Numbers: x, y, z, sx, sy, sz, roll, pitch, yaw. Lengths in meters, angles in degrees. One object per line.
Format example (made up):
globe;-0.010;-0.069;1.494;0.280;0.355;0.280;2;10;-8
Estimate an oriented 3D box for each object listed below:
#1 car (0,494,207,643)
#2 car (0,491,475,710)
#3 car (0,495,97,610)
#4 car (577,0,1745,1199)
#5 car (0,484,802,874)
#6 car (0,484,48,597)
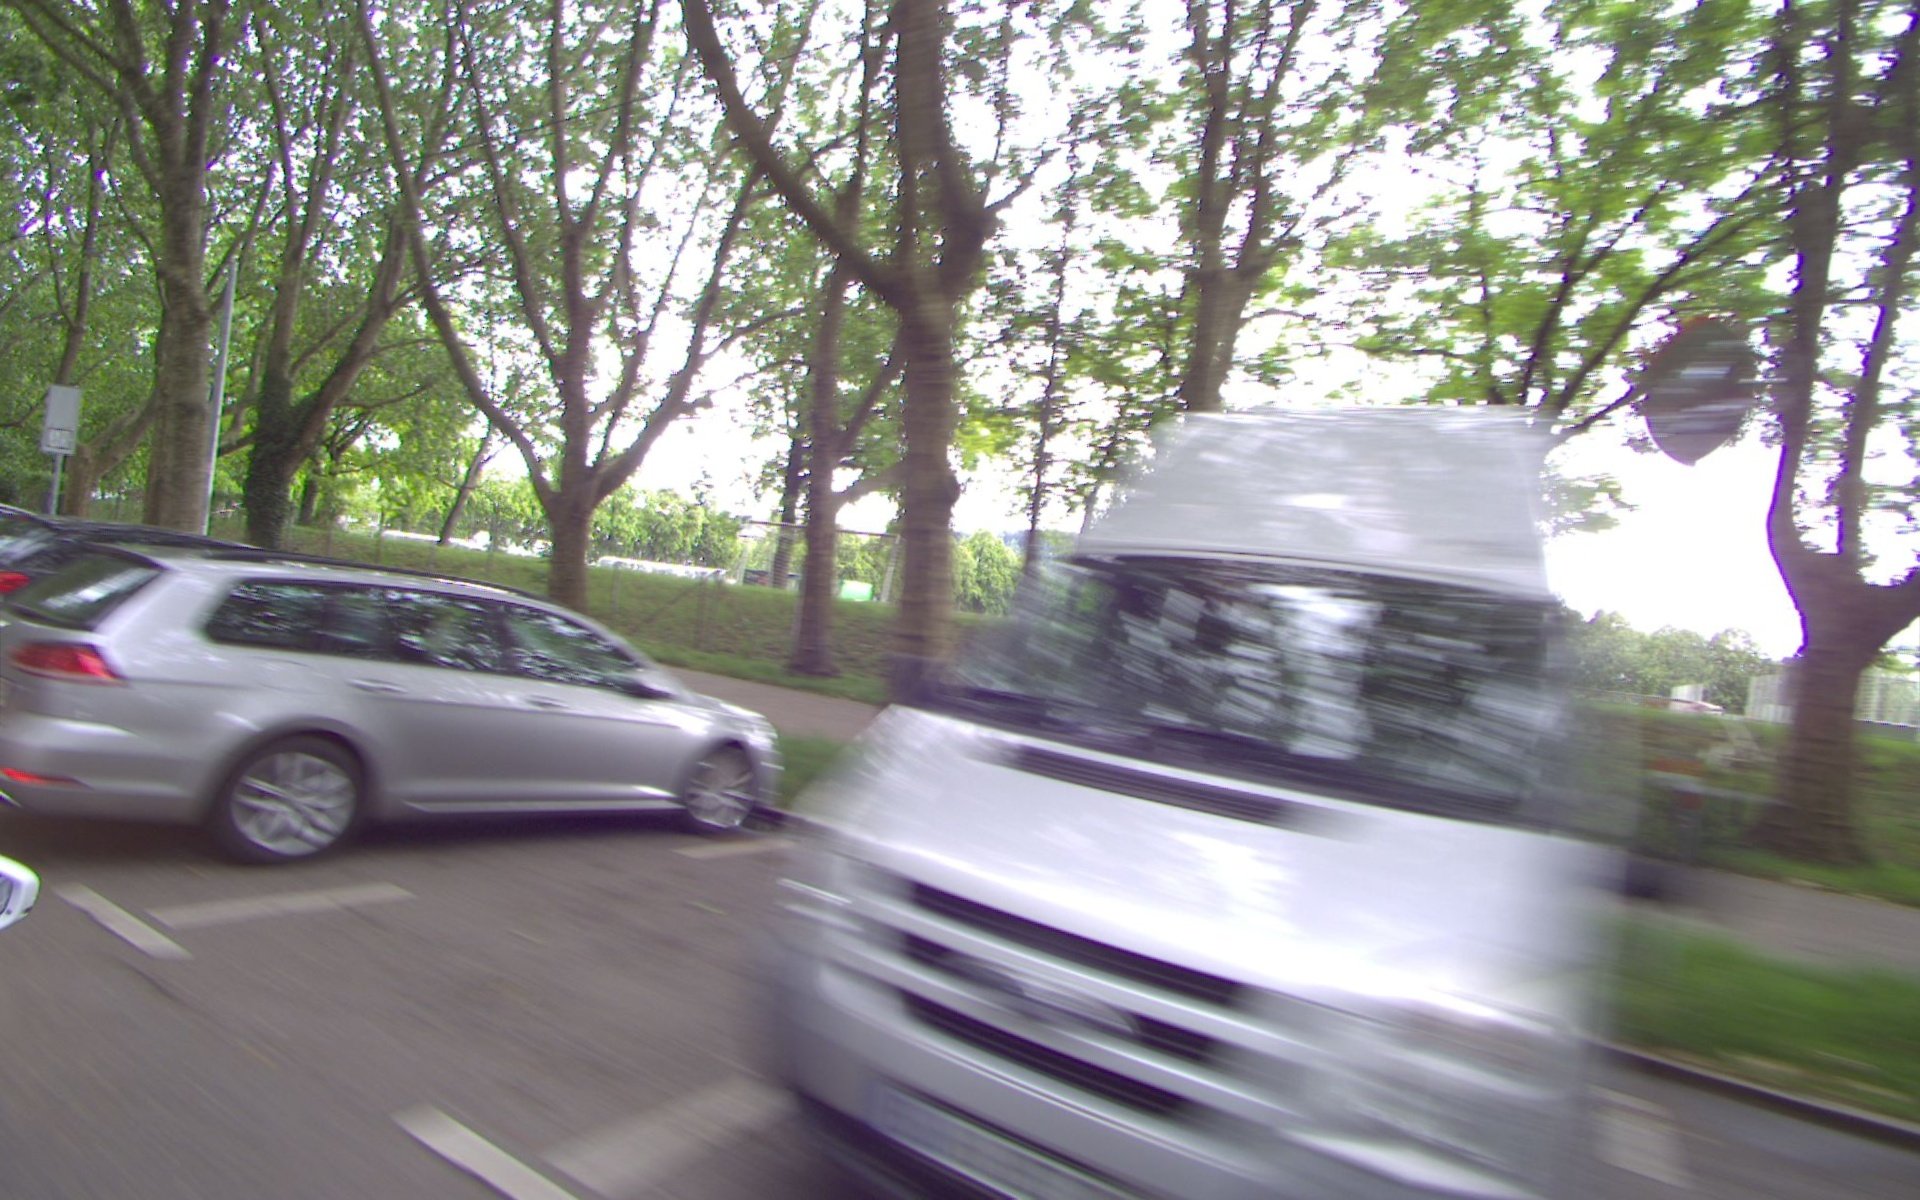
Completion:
car;-11.628;-0.528;11.435;1.674;1.543;4.514;7;-2;29
car;-6.903;0.072;9.174;1.784;1.543;4.055;7;-2;29
car;-15.184;-0.929;14.153;1.671;1.574;4.196;7;-2;29
car;1.442;0.495;4.076;1.925;2.719;5.241;7;-3;32
car;-3.025;0.521;5.969;1.675;1.443;4.131;6;-4;33
car;-17.107;-1.244;15.242;1.770;1.775;4.396;7;-2;29
